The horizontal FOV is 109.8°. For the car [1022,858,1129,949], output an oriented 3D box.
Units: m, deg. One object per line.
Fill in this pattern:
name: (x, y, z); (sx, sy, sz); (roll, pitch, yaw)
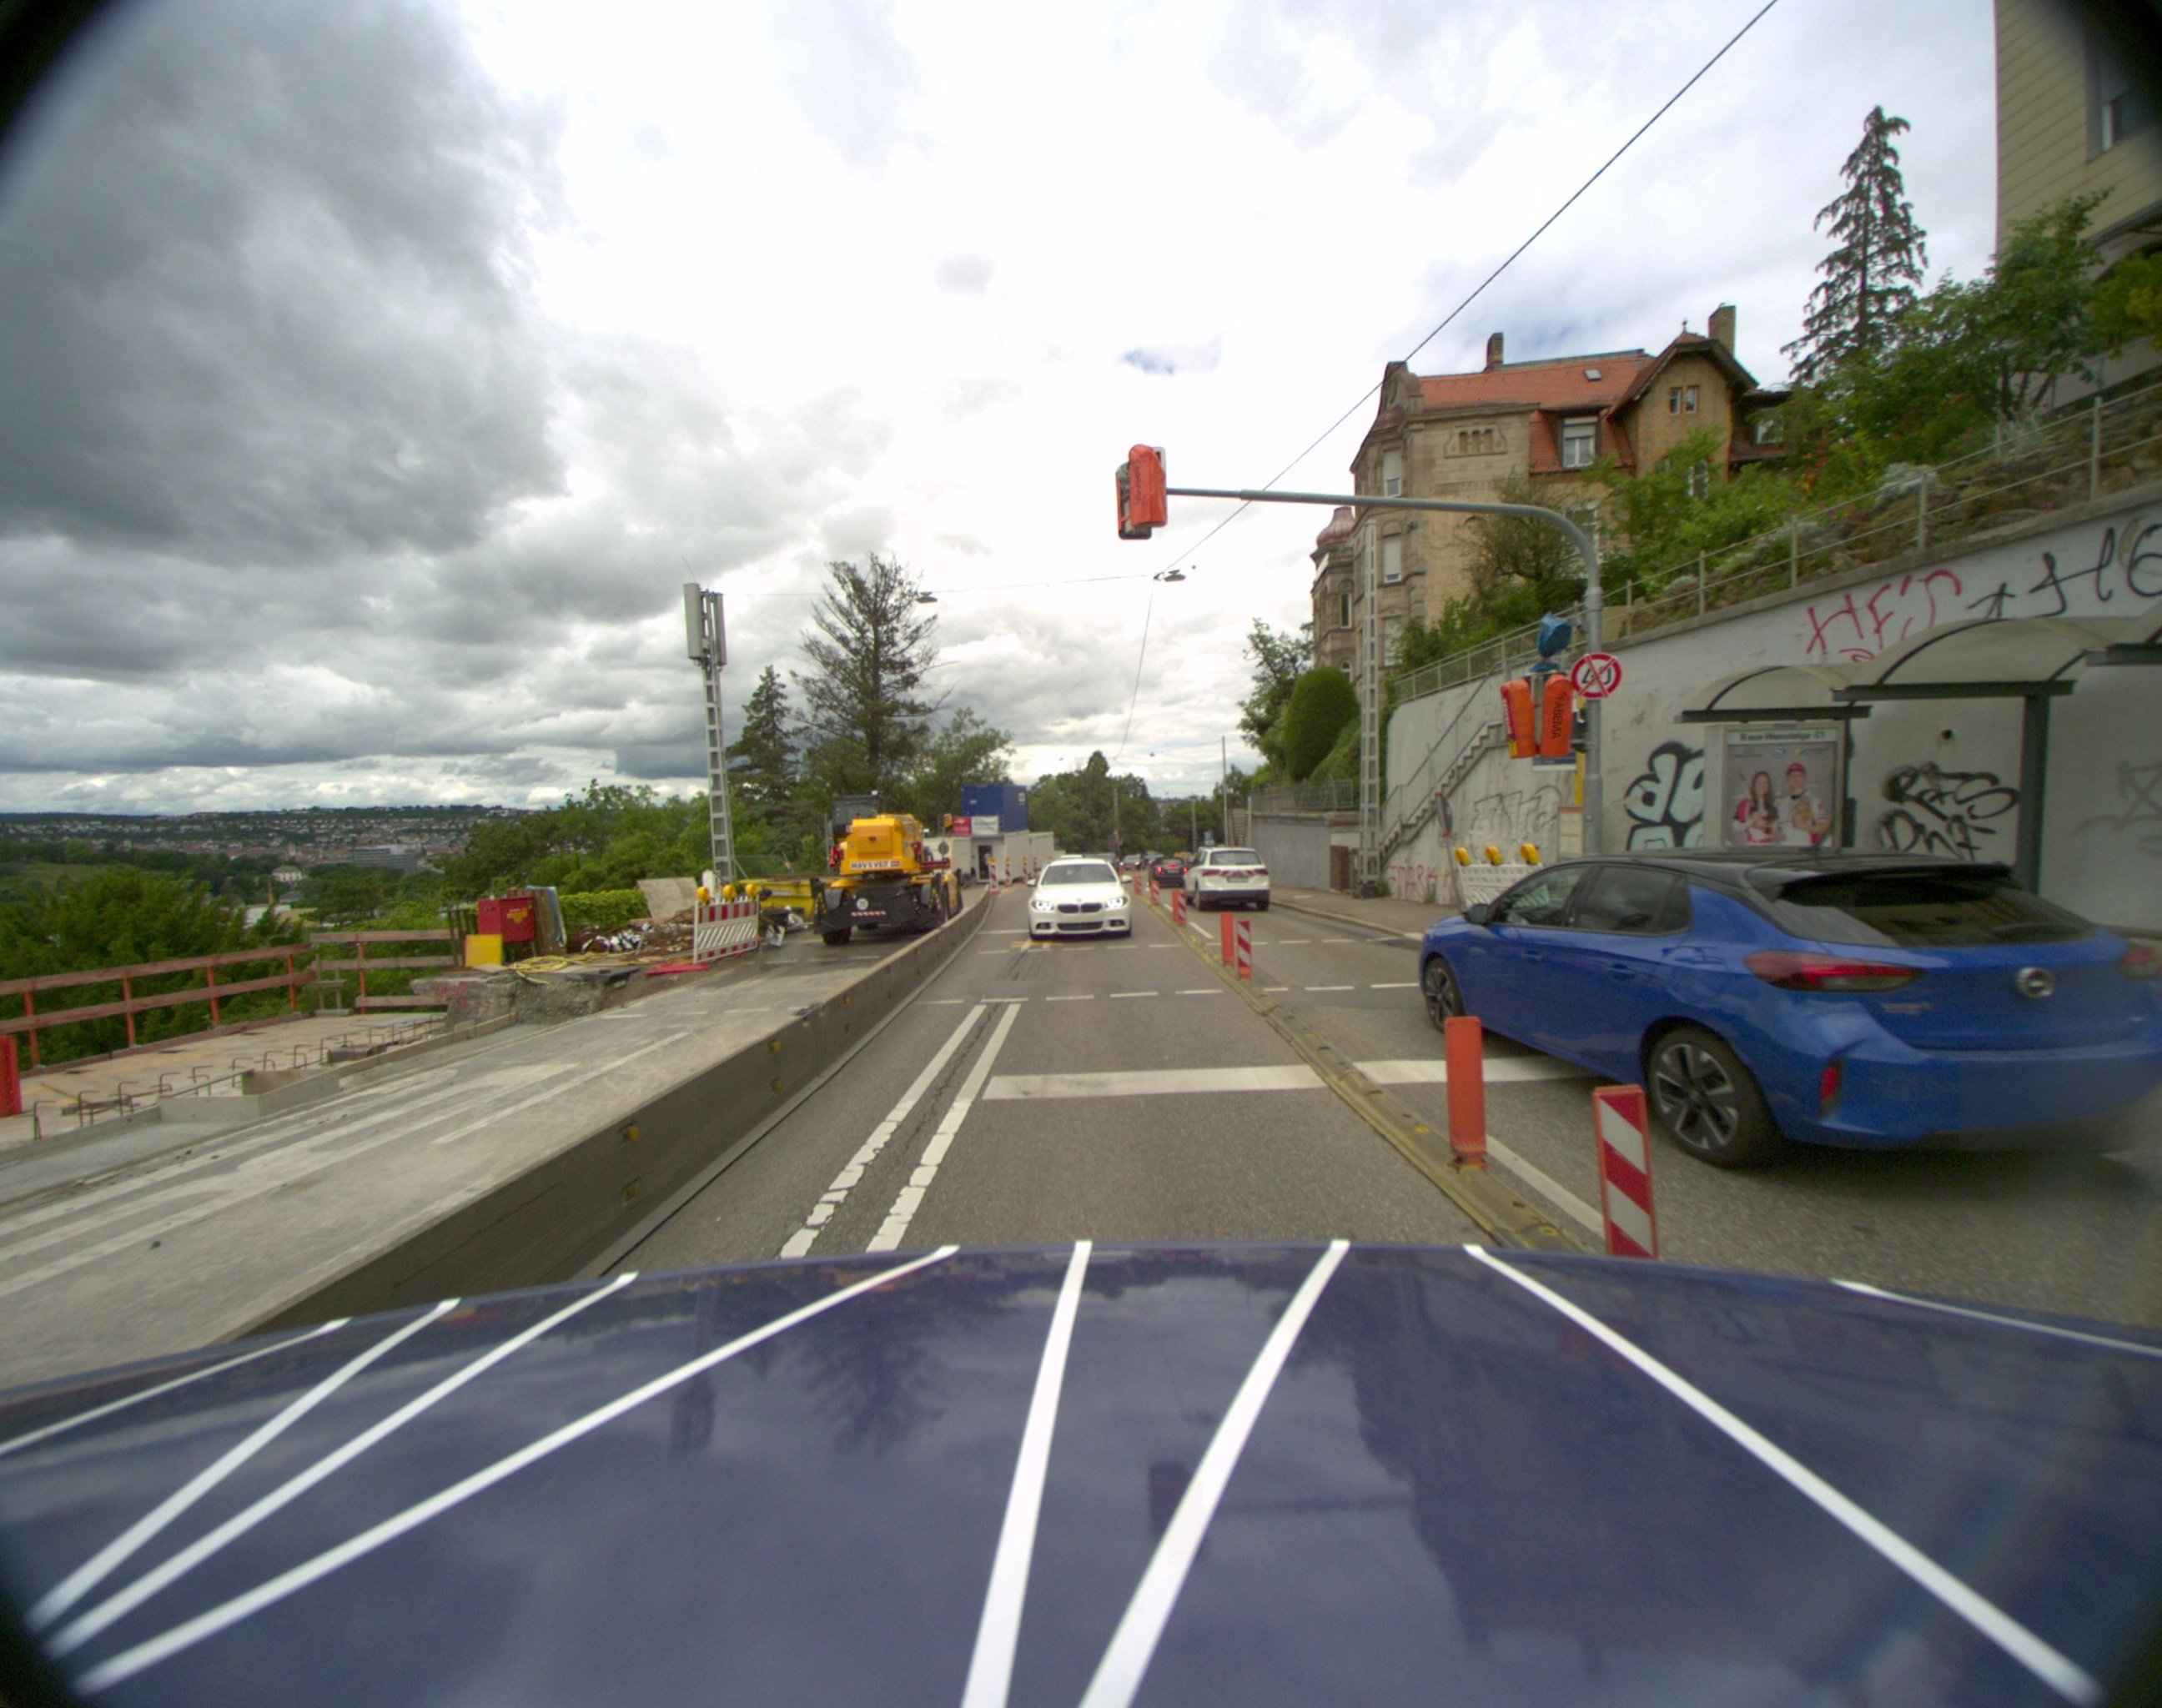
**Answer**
car: (0.028, 0.871, 15.198); (1.791, 1.472, 4.245); (-2, 0, 4)

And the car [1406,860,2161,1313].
car: (3.627, 0.803, 4.477); (1.730, 1.412, 3.820); (-3, 0, 0)

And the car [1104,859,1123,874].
car: (3.548, 1.397, 83.404); (1.798, 1.502, 4.001); (1, 1, 6)

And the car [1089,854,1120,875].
car: (1.843, 0.803, 59.124); (1.797, 1.502, 4.003); (1, 1, 11)

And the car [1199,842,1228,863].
car: (14.796, -0.168, 84.786); (2.068, 2.175, 4.971); (0, 0, 23)

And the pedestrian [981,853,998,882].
pedestrian: (-5.302, 0.779, 43.829); (0.651, 1.651, 0.648); (-4, 1, -33)

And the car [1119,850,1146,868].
car: (4.851, 0.455, 70.924); (1.796, 1.502, 4.004); (1, 1, 15)

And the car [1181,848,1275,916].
car: (3.877, 0.682, 20.737); (1.846, 1.590, 4.264); (-2, 0, 2)

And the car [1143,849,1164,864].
car: (8.170, 0.247, 85.439); (1.797, 1.502, 4.003); (1, 1, 12)

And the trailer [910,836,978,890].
trailer: (-6.704, 0.398, 37.843); (2.111, 2.535, 5.120); (0, 1, 4)

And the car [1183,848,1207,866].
car: (9.318, 0.240, 61.906); (1.802, 1.365, 4.391); (1, 1, 10)

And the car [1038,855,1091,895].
car: (-0.623, 0.819, 31.679); (1.791, 1.472, 4.245); (-2, 0, 4)

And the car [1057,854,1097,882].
car: (-0.187, 0.779, 43.881); (1.791, 1.542, 4.246); (-1, 0, 6)

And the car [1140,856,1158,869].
car: (8.559, 1.042, 95.272); (1.797, 1.502, 4.003); (1, 1, 12)

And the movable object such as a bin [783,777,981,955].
movable object such as a bin: (-4.048, 0.209, 17.486); (2.819, 3.053, 7.820); (-3, 0, -4)

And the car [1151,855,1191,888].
car: (4.158, 0.775, 35.664); (1.675, 1.422, 3.588); (0, 1, 4)

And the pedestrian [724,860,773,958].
pedestrian: (-6.258, 1.013, 14.325); (0.691, 1.784, 0.539); (-2, 0, -12)
